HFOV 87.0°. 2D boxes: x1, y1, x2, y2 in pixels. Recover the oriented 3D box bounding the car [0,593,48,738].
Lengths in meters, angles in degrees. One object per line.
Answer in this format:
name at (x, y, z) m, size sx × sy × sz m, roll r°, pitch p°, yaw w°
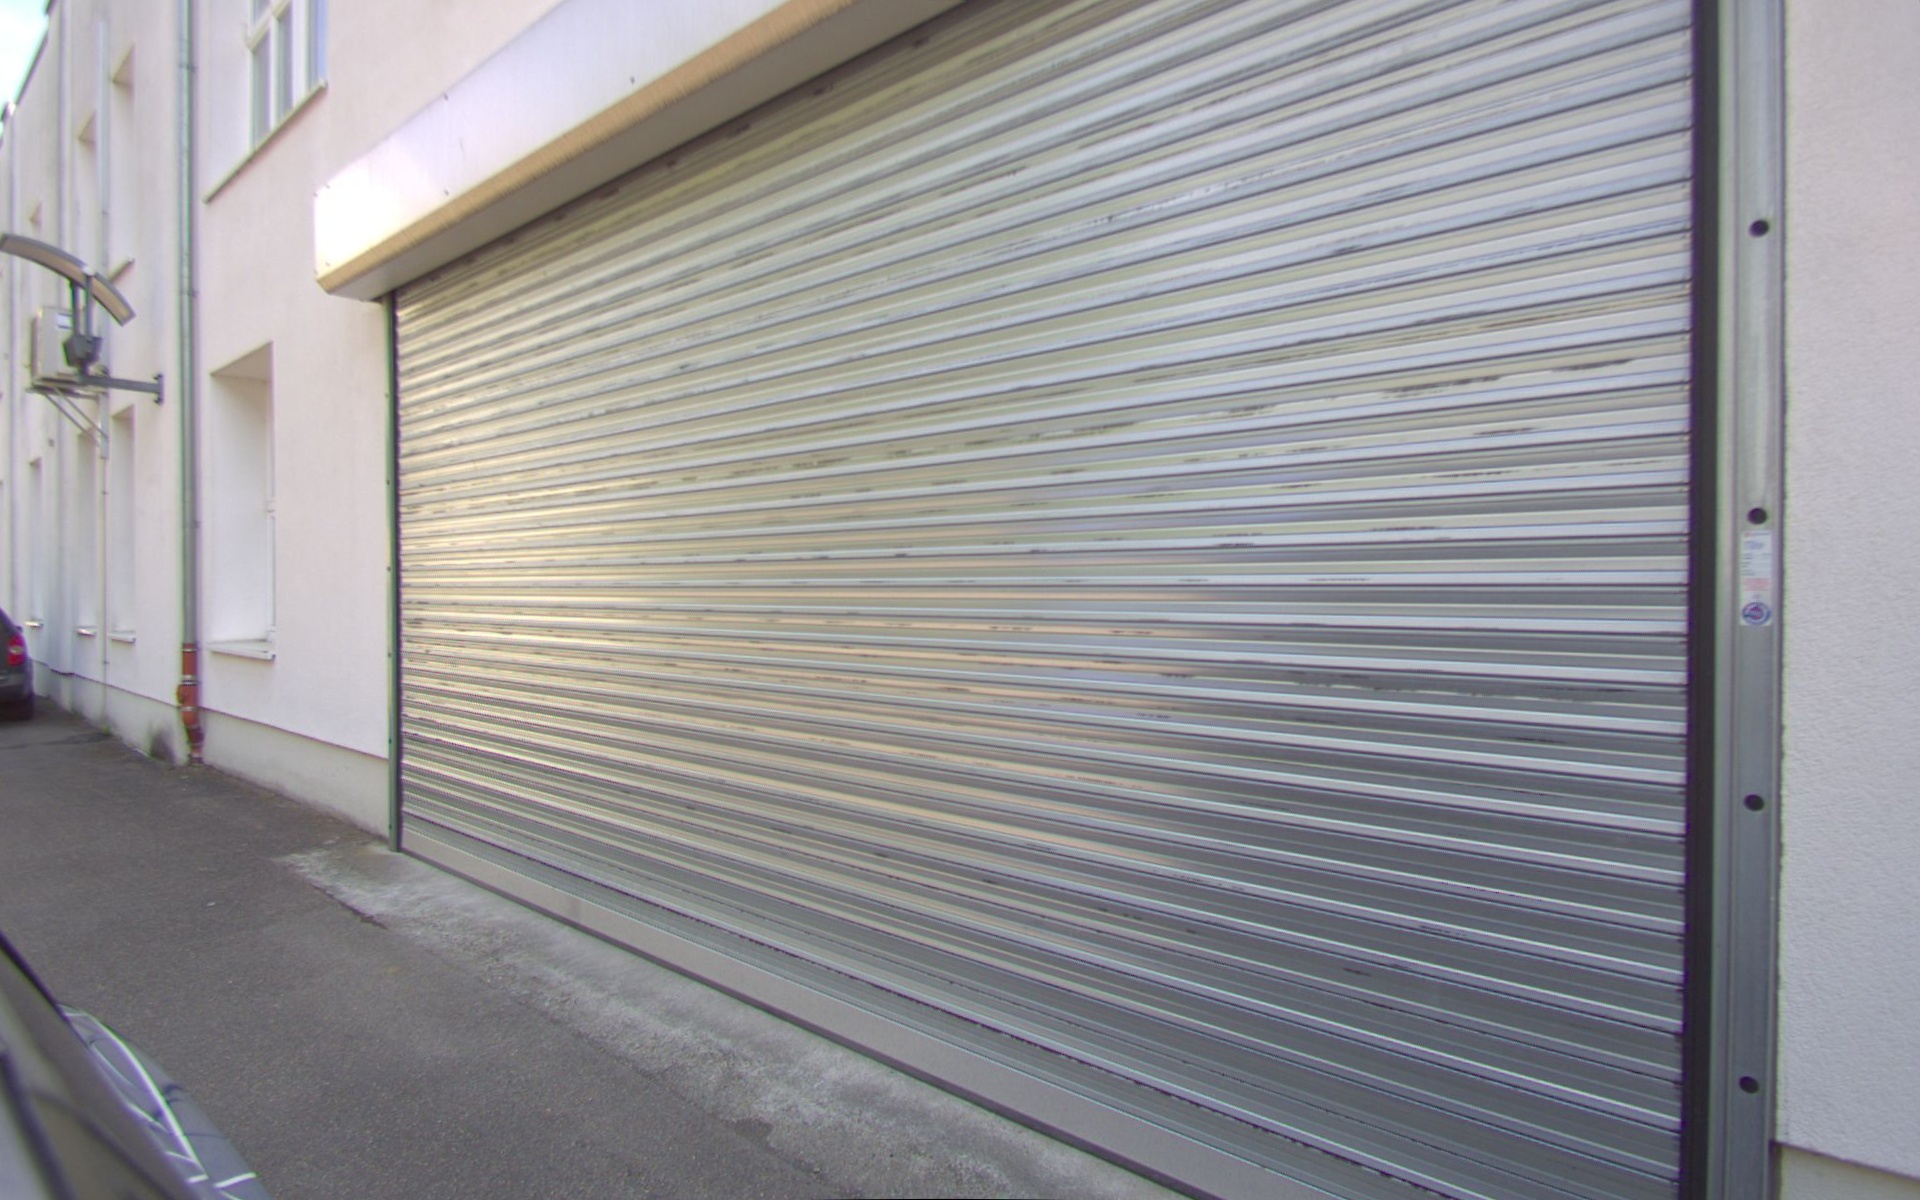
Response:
car at (-12.267, 0.706, 11.806) m, size 4.427 × 1.452 × 1.818 m, roll 2°, pitch 4°, yaw 40°
